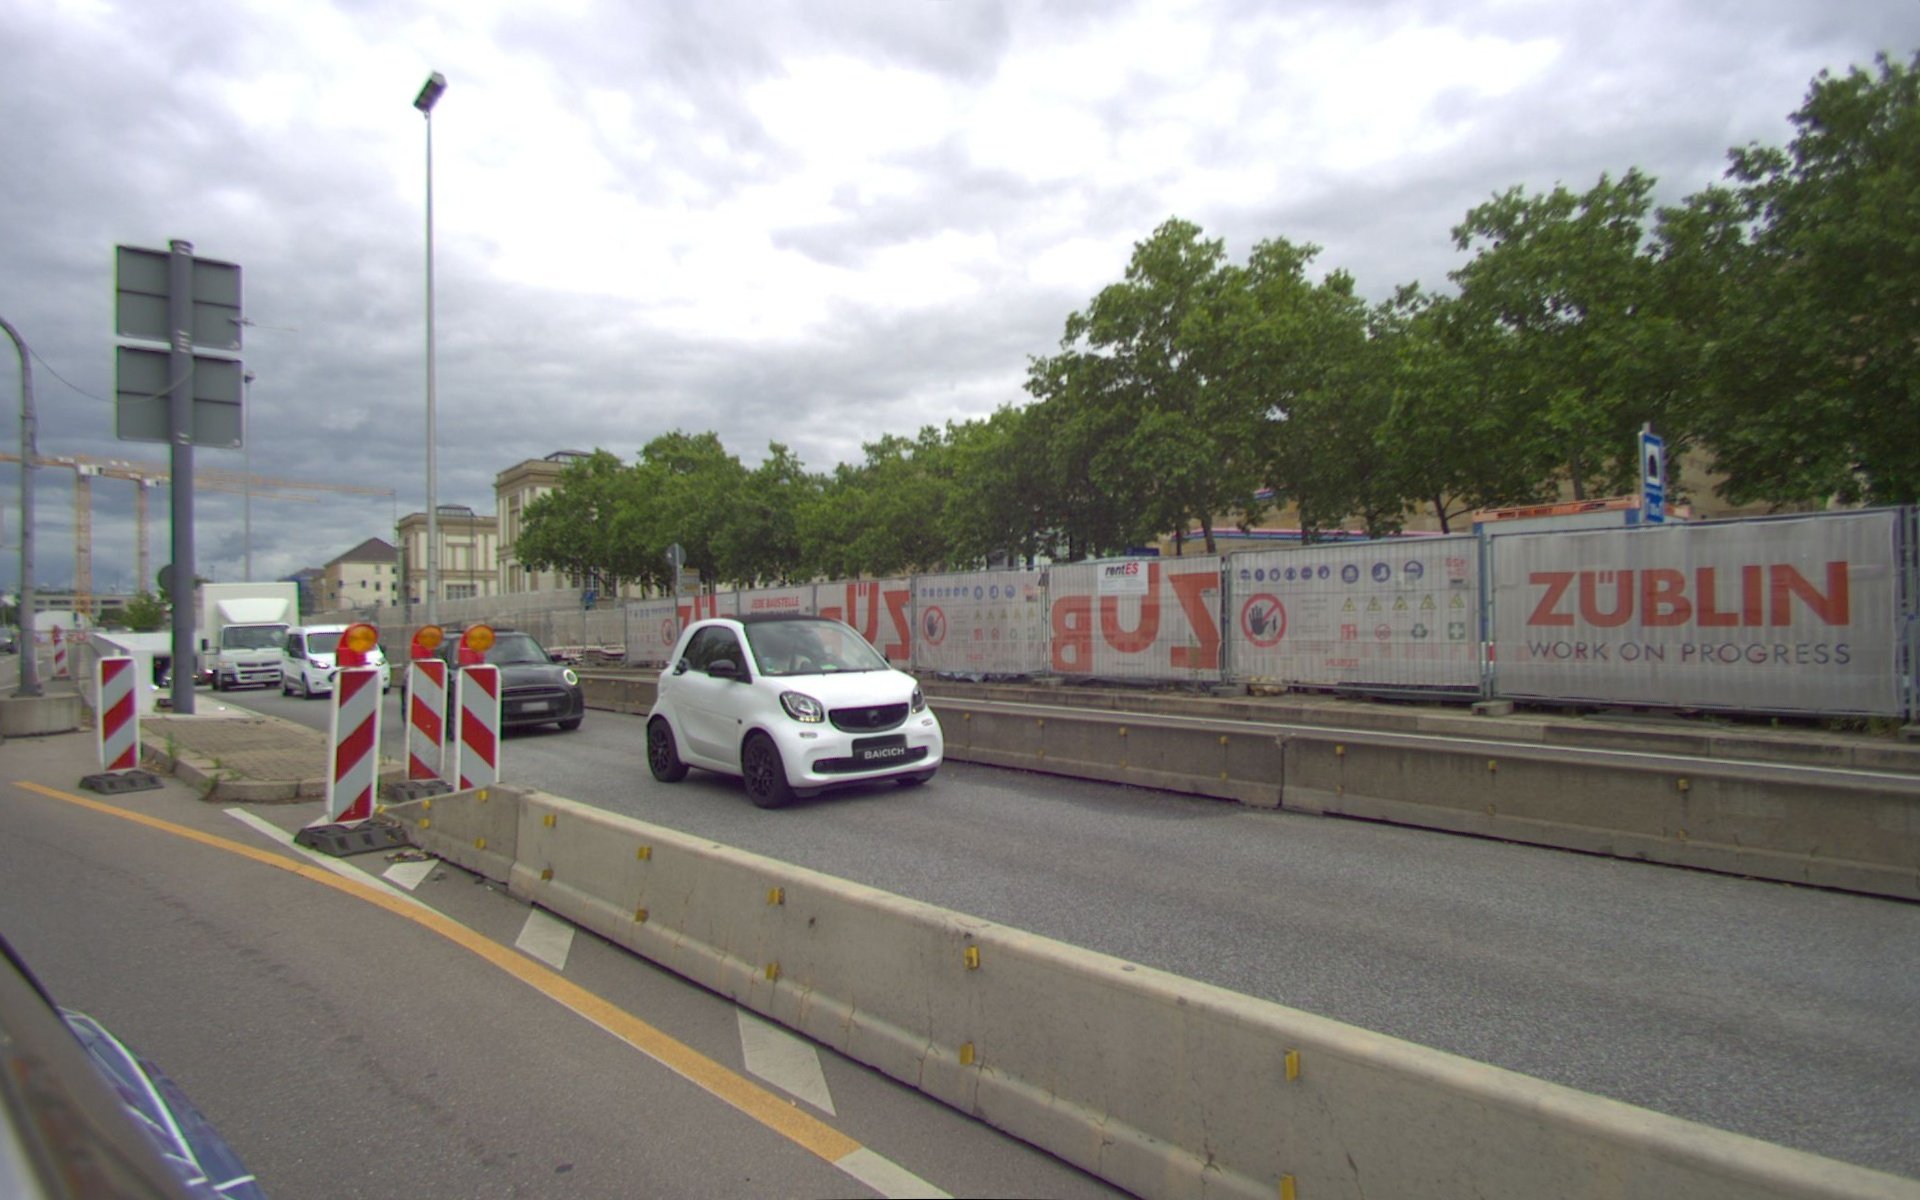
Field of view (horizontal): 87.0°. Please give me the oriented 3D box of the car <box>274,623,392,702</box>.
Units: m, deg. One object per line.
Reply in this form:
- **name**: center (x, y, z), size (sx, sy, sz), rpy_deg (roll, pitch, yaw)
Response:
- **car**: center (-15.866, 1.506, 25.495), size (1.815, 1.774, 4.486), rpy_deg (0, -1, -41)

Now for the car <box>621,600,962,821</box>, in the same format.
- **car**: center (-1.603, 0.837, 9.037), size (1.610, 1.566, 3.006), rpy_deg (-2, 0, -42)

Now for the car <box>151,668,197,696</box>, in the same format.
- **car**: center (-52.635, 5.439, 67.747), size (4.001, 1.519, 1.847), rpy_deg (-2, 1, 44)

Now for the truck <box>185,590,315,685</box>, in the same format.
- **truck**: center (-23.681, 1.191, 33.579), size (2.933, 2.795, 7.267), rpy_deg (0, -1, -40)

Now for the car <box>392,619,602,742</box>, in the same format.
- **car**: center (-6.722, 1.045, 14.483), size (1.627, 1.449, 3.940), rpy_deg (-2, 0, -42)
